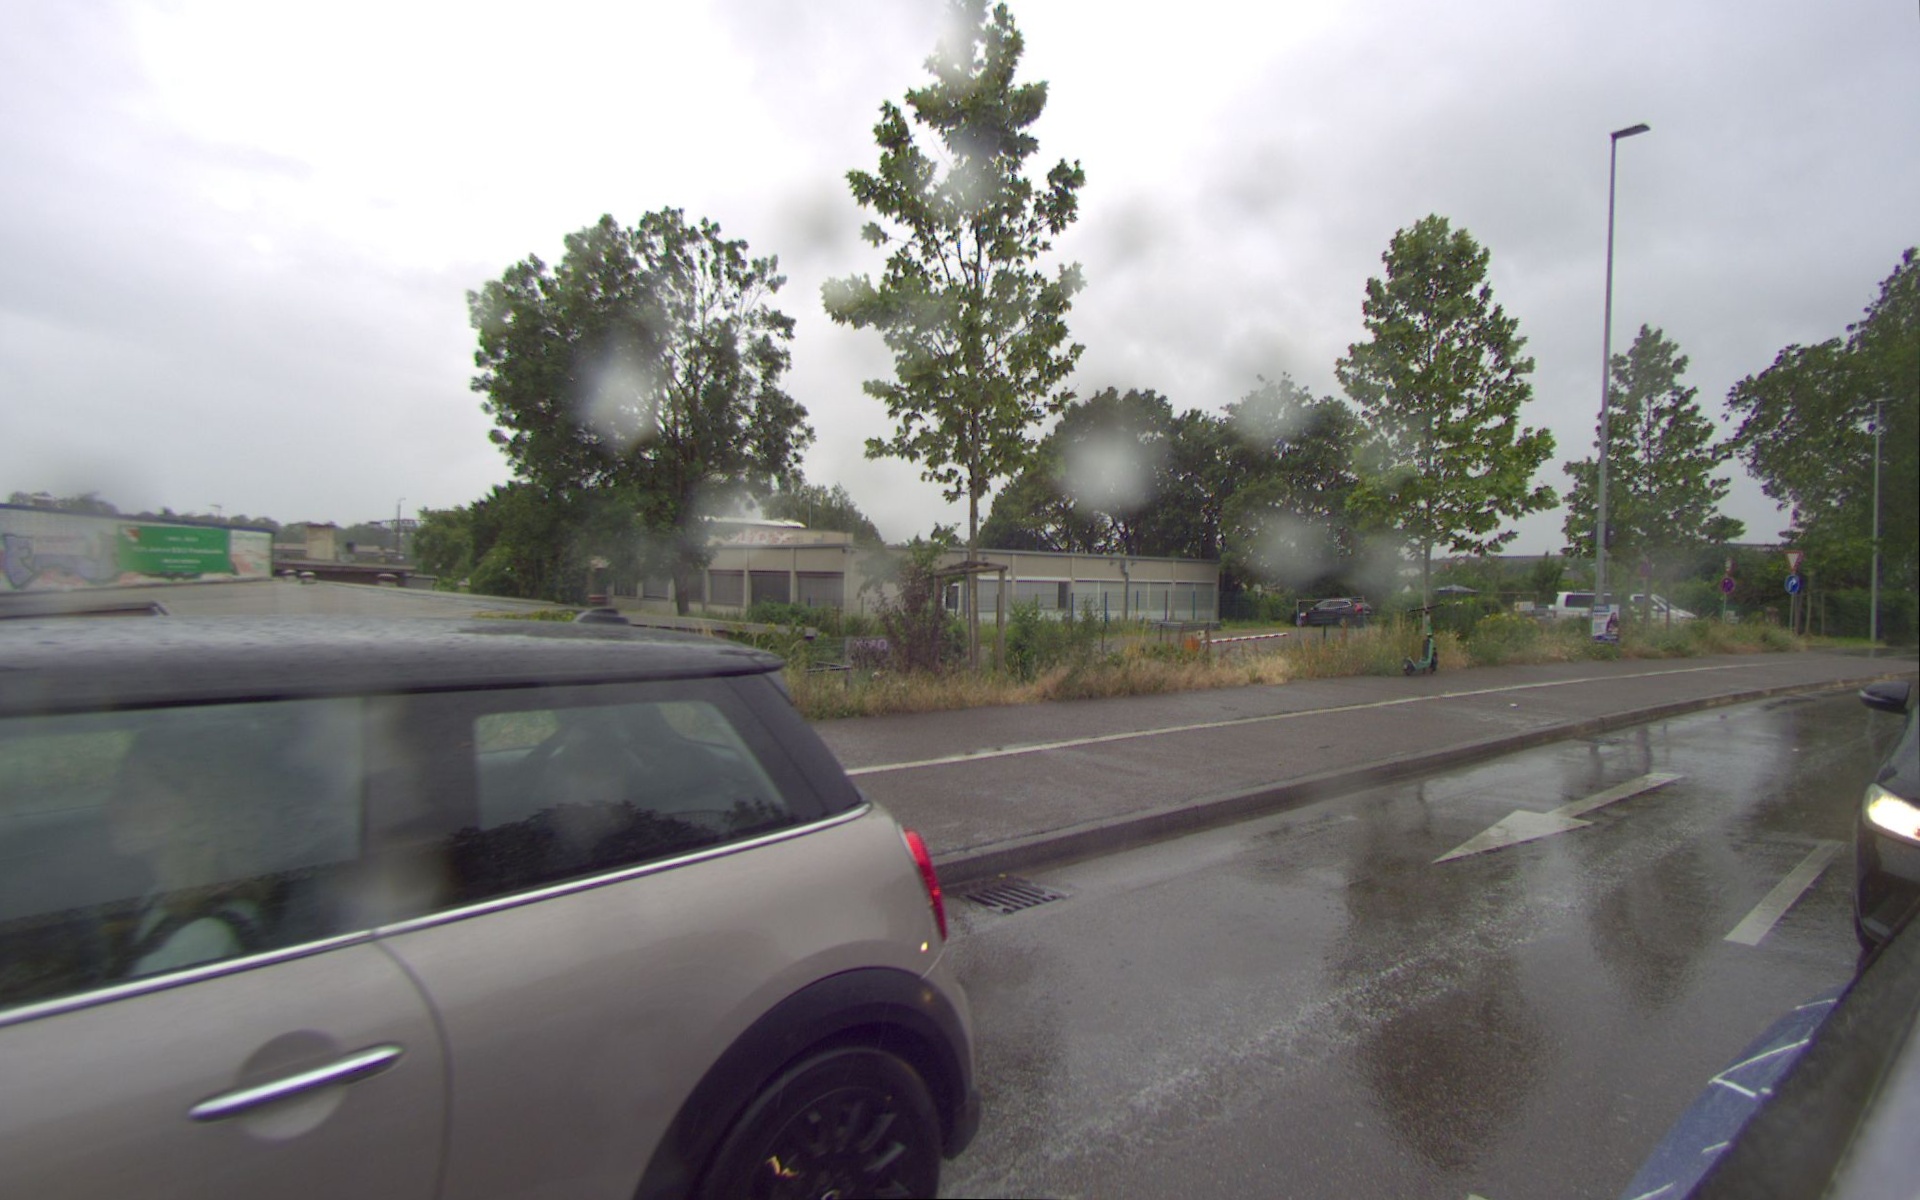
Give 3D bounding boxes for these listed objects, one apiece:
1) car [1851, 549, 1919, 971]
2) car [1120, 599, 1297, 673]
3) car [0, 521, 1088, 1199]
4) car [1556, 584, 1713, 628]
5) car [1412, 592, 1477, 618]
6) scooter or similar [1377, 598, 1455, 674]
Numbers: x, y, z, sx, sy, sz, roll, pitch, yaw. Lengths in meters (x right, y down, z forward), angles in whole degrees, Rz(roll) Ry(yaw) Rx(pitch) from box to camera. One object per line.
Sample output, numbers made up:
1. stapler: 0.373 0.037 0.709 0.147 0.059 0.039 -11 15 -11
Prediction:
1. car: 5.685 0.634 4.522 4.091 1.601 1.759 1 0 -37
2. car: 4.700 0.637 19.483 1.319 1.304 3.246 0 0 -35
3. car: -1.695 0.680 1.632 3.812 1.527 1.705 0 -1 -42
4. car: 28.146 0.242 42.365 1.972 1.747 5.168 0 0 -42
5. car: 30.945 0.286 64.676 1.319 1.604 3.555 0 0 -35
6. scooter or similar: 7.681 0.578 17.000 1.877 1.214 0.367 0 0 -38
